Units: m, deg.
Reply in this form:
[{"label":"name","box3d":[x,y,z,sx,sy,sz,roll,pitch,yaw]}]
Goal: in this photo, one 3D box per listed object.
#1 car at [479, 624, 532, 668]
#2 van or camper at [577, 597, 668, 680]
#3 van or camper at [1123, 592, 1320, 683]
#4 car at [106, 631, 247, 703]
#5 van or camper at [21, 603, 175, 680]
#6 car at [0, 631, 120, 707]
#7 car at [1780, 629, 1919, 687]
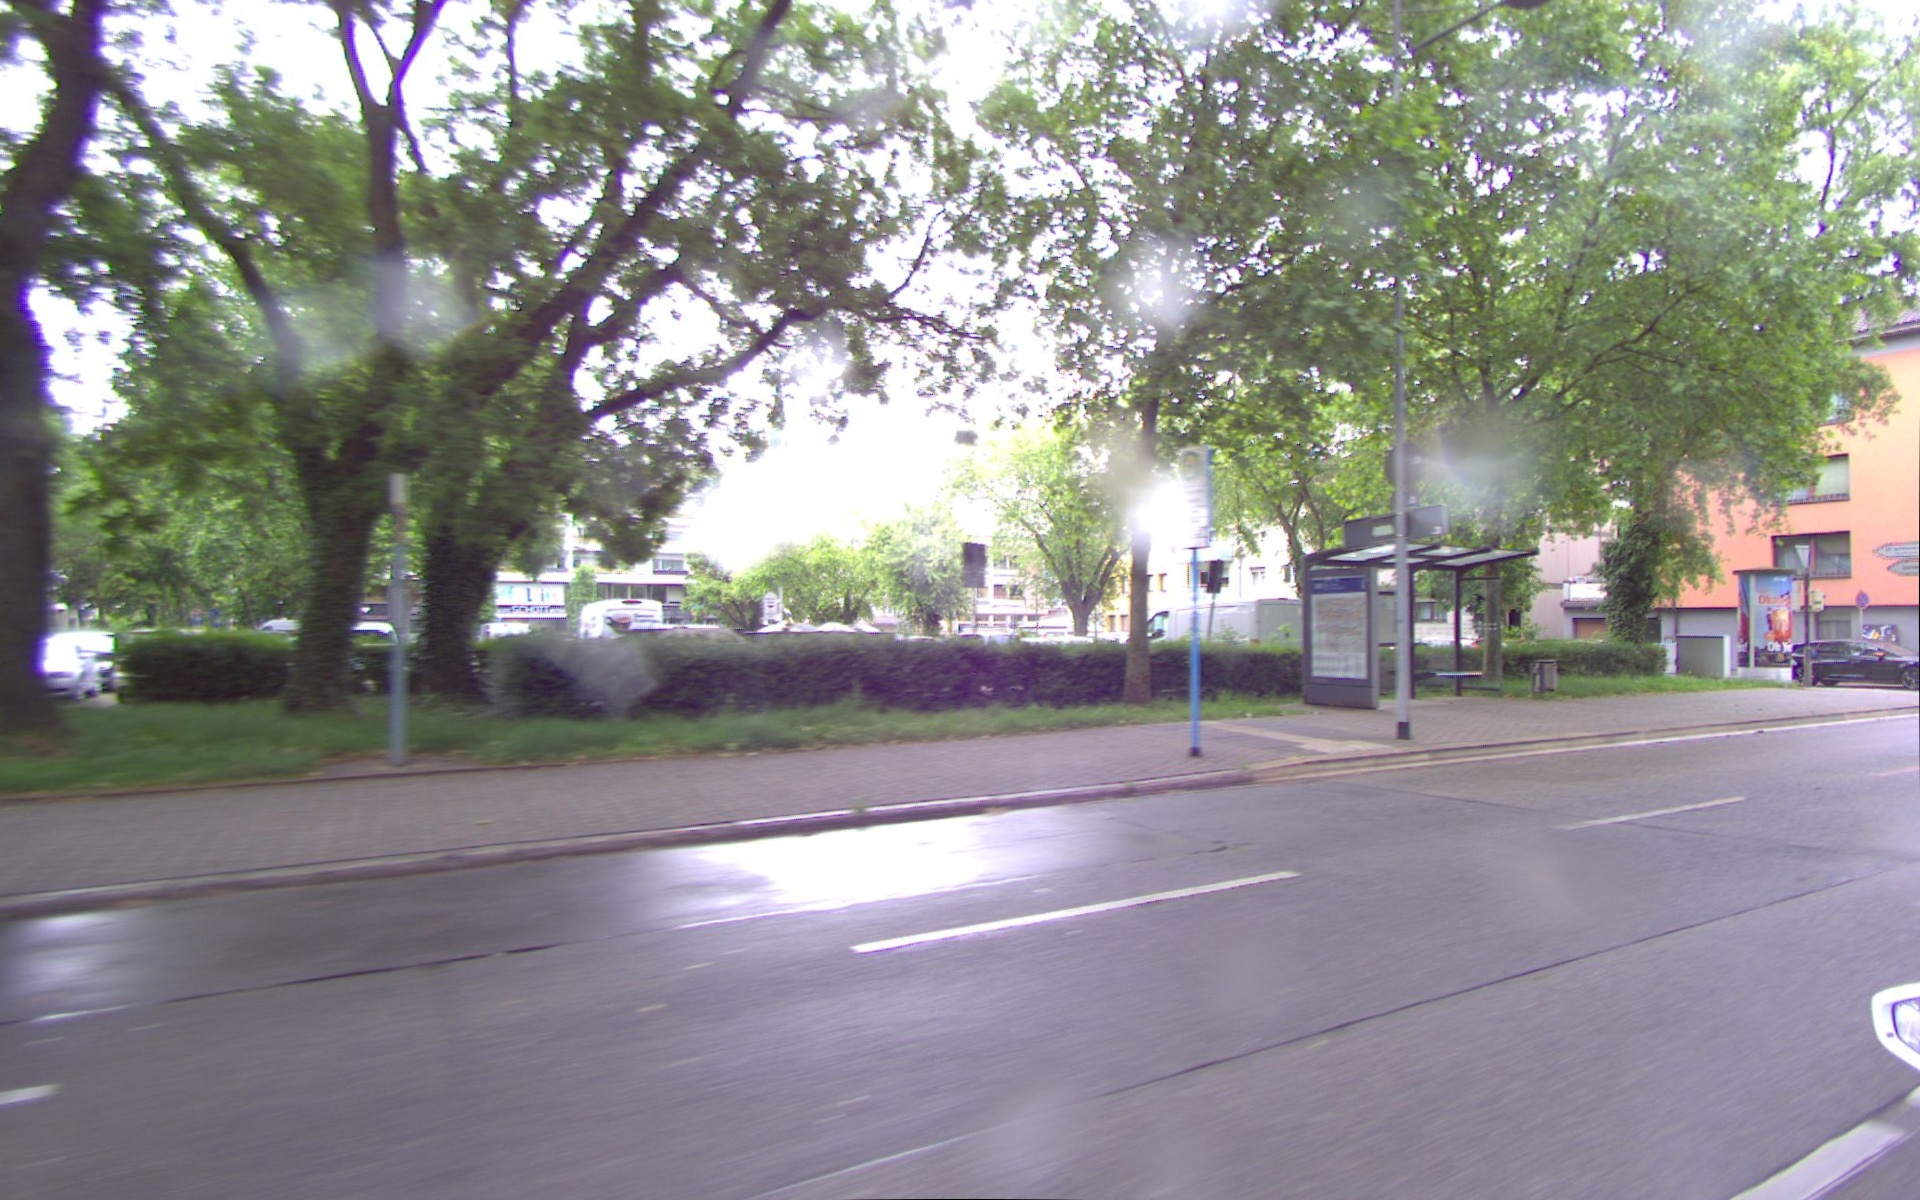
[{"label":"car","box3d":[-20.242,2.038,44.671,1.782,1.848,3.968,1,-2,-30]},{"label":"van or camper","box3d":[-10.904,1.217,32.271,2.073,2.463,4.310,1,-2,-28]},{"label":"van or camper","box3d":[6.233,0.889,24.451,1.978,1.975,4.572,1,-2,-31]},{"label":"car","box3d":[-17.689,1.443,22.874,1.840,1.483,3.971,1,-2,-28]},{"label":"van or camper","box3d":[-30.929,1.444,36.419,2.532,2.433,8.587,1,-2,-29]},{"label":"car","box3d":[-19.770,1.424,21.678,1.841,1.483,3.615,1,-2,-29]},{"label":"car","box3d":[27.231,1.689,29.797,1.831,1.647,4.103,1,-3,-32]}]
